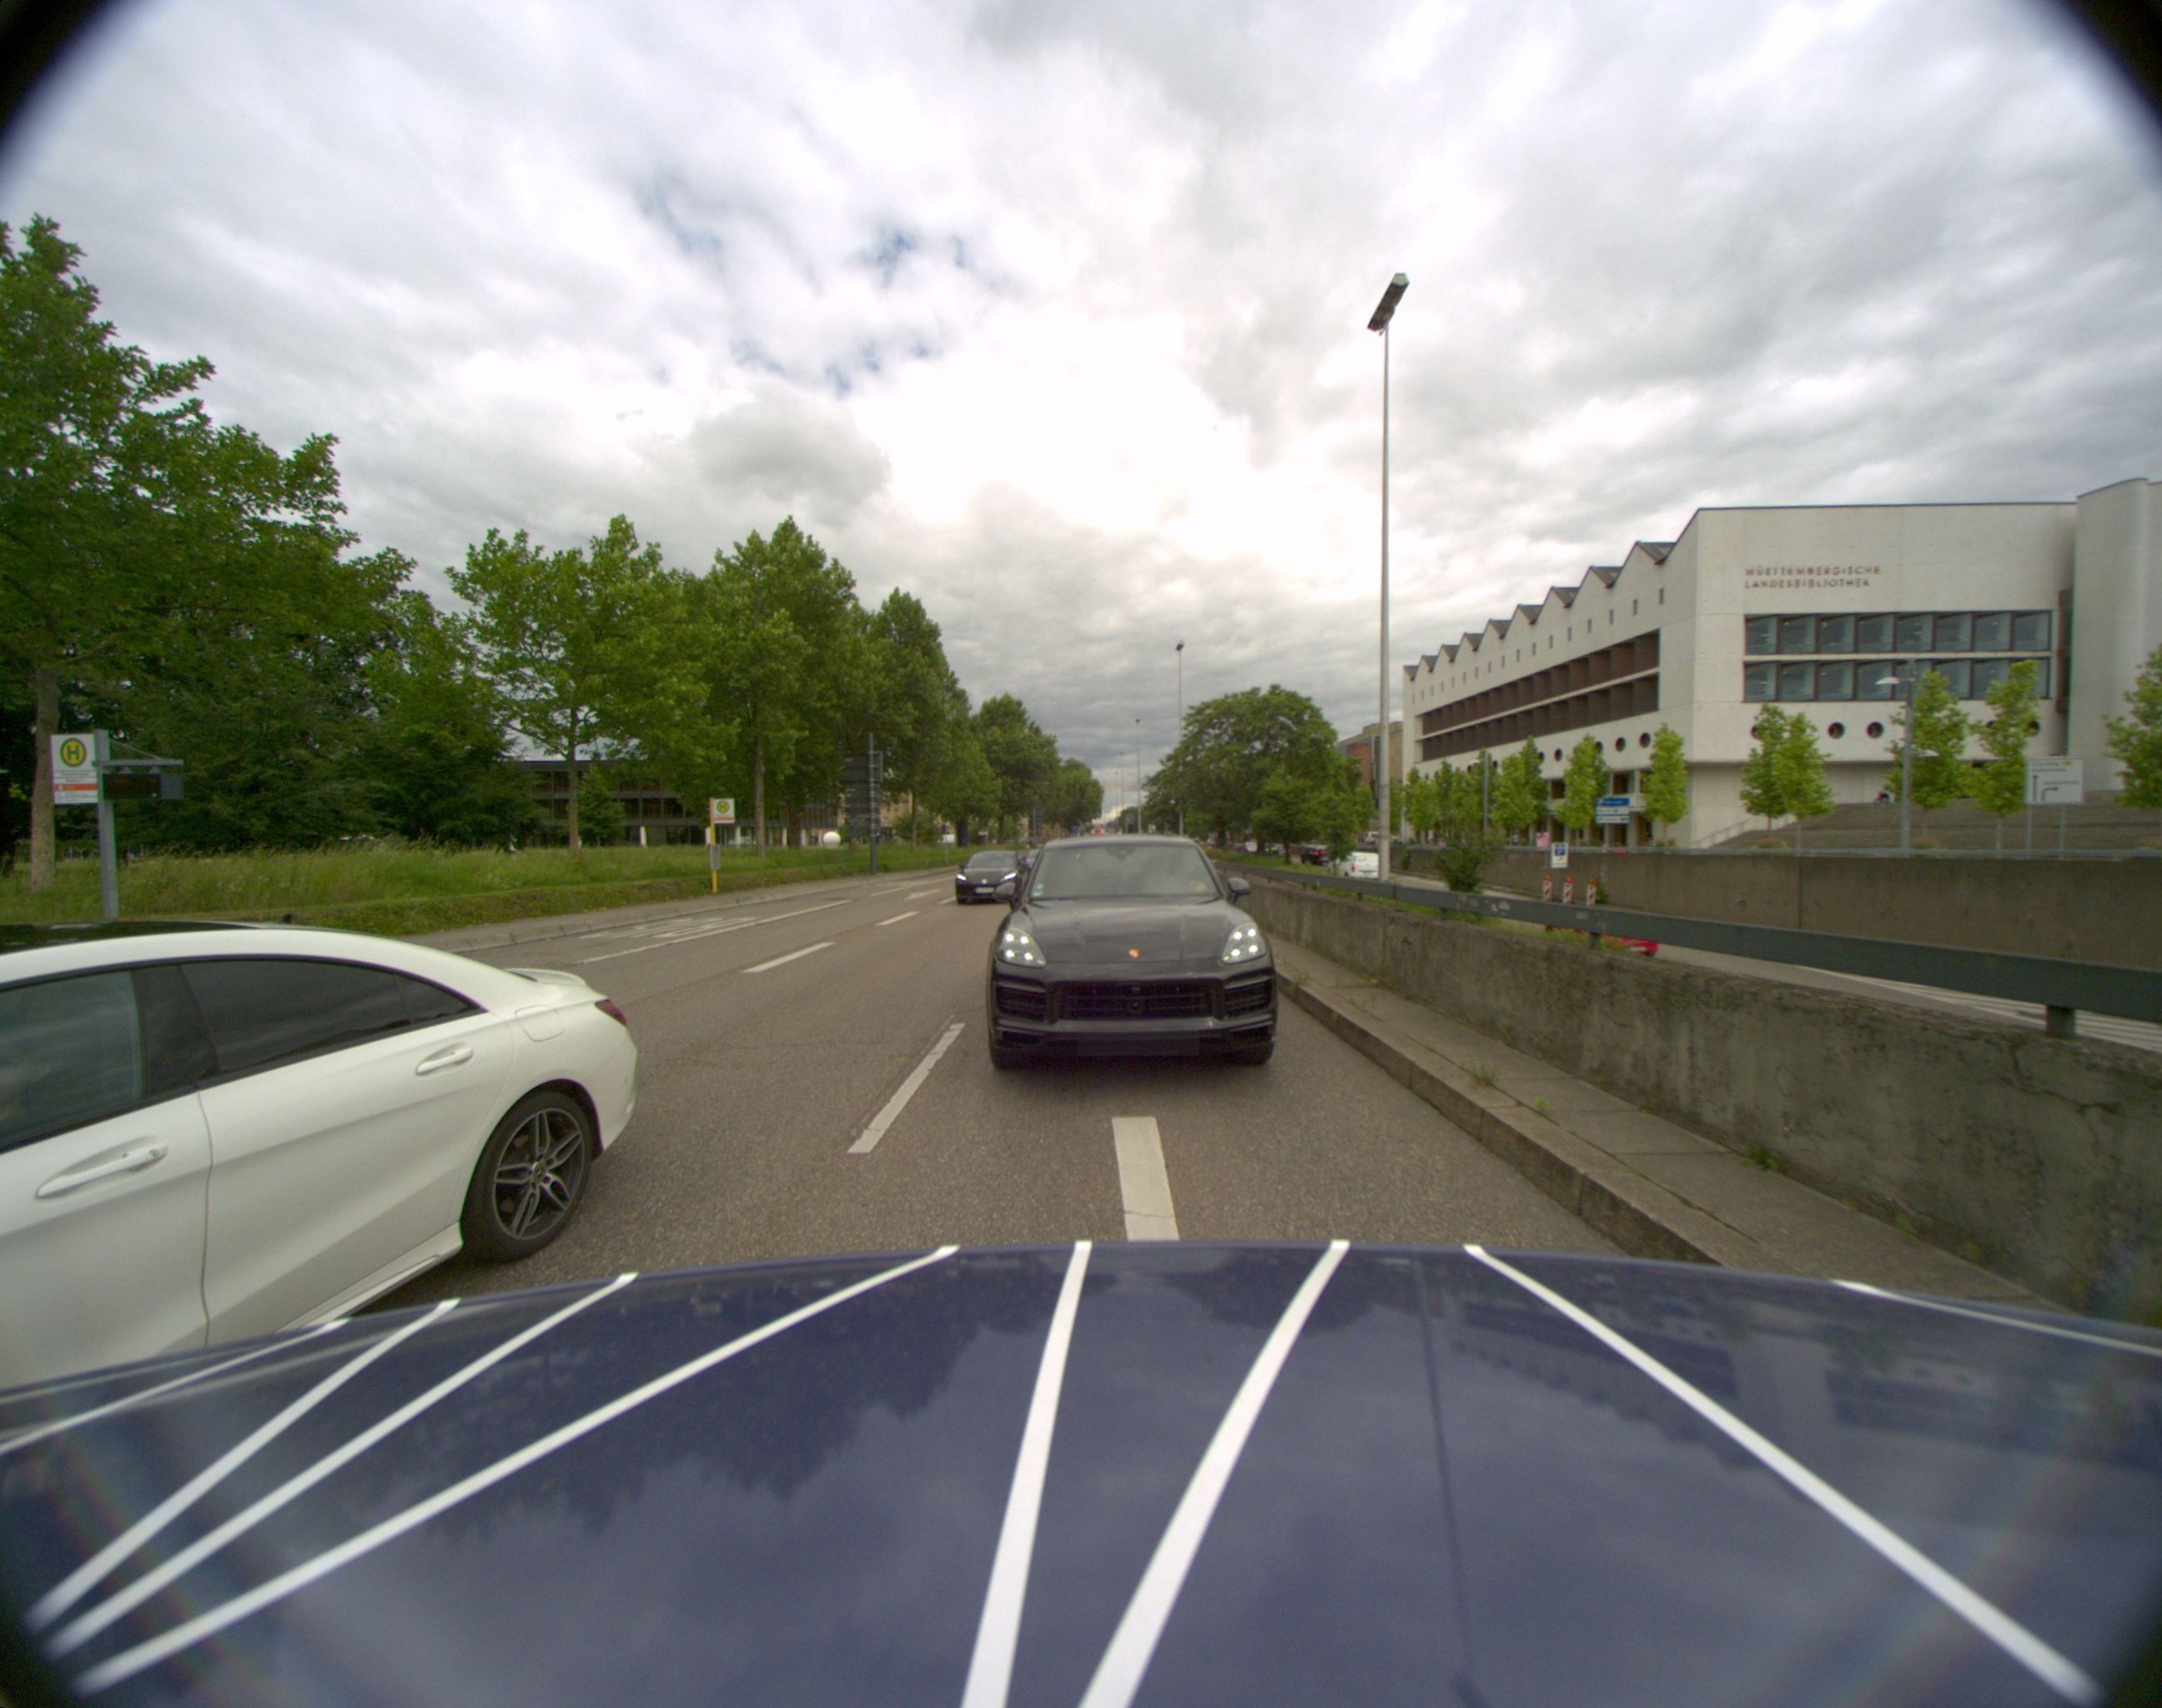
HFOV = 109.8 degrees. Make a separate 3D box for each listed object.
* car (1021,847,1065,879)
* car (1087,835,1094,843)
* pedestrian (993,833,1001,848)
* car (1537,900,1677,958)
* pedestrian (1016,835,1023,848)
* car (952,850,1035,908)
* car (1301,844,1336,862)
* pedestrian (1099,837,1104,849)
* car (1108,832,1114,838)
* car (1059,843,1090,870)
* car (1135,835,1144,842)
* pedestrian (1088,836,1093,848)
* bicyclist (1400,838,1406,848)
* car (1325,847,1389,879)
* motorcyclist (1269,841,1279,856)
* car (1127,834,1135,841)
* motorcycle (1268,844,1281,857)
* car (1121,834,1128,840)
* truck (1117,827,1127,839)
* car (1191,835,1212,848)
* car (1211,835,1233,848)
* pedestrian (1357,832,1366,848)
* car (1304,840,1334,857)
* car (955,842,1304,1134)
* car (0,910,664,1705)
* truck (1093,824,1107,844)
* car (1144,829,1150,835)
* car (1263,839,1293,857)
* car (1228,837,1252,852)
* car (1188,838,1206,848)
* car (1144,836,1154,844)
[{"bbox_3d":[-1.829,0.388,37.836,1.805,1.426,4.015,-1,1,2],"label":"car"},{"bbox_3d":[2.550,-3.920,202.752,1.693,2.002,3.999,-3,2,2],"label":"car"},{"bbox_3d":[-11.583,-1.892,104.470,0.892,2.002,1.181,-3,2,2],"label":"pedestrian"},{"bbox_3d":[17.458,2.439,25.492,1.998,1.477,4.000,-1,1,2],"label":"car"},{"bbox_3d":[-9.822,-2.013,121.917,0.892,2.002,1.181,-3,2,2],"label":"pedestrian"},{"bbox_3d":[-2.519,0.665,22.769,1.852,1.481,4.092,-1,1,2],"label":"car"},{"bbox_3d":[20.921,-0.121,67.104,1.810,1.321,4.002,0,4,0],"label":"car"},{"bbox_3d":[3.373,-1.816,125.163,0.792,2.002,0.741,-1,0,2],"label":"pedestrian"},{"bbox_3d":[10.324,-6.498,259.351,1.998,1.753,3.999,2,2,0],"label":"car"},{"bbox_3d":[-0.453,0.174,55.872,2.021,1.823,4.804,-1,1,2],"label":"car"},{"bbox_3d":[11.230,-2.934,145.099,1.372,1.390,3.721,2,1,0],"label":"car"},{"bbox_3d":[1.586,-1.996,127.738,0.792,2.002,0.741,-1,0,2],"label":"pedestrian"},{"bbox_3d":[37.603,-1.302,88.681,0.403,1.154,0.643,-3,2,-1],"label":"bicyclist"},{"bbox_3d":[17.713,0.523,49.054,1.999,1.630,5.246,5,3,-1],"label":"car"},{"bbox_3d":[18.137,-0.554,71.383,0.671,1.345,0.717,3,4,0],"label":"motorcyclist"},{"bbox_3d":[11.160,-3.636,168.686,1.372,1.389,3.722,-1,-1,-1],"label":"car"},{"bbox_3d":[18.135,-0.330,71.367,0.687,1.092,2.049,3,4,1],"label":"motorcycle"},{"bbox_3d":[10.366,-4.088,180.981,1.442,1.390,3.721,2,1,0],"label":"car"},{"bbox_3d":[11.717,-6.098,217.684,2.576,3.289,8.078,-3,2,2],"label":"truck"},{"bbox_3d":[16.187,-1.660,102.238,1.998,1.665,4.516,2,1,0],"label":"car"},{"bbox_3d":[20.308,-1.852,109.385,2.161,1.636,4.514,2,3,-1],"label":"car"},{"bbox_3d":[35.844,-1.851,97.137,0.722,2.002,1.016,-3,2,2],"label":"pedestrian"},{"bbox_3d":[26.322,-0.602,84.101,1.998,1.753,3.999,2,2,0],"label":"car"},{"bbox_3d":[0.394,0.722,6.587,1.904,1.581,4.732,-1,1,3],"label":"car"},{"bbox_3d":[-3.127,1.057,1.613,1.799,1.412,4.526,-1,1,2],"label":"car"},{"bbox_3d":[3.634,-3.874,142.859,2.357,3.518,9.423,-3,2,2],"label":"truck"},{"bbox_3d":[18.883,-6.304,217.759,1.609,1.844,3.999,-3,2,2],"label":"car"},{"bbox_3d":[20.688,-0.634,79.993,1.875,1.604,4.387,0,4,-3],"label":"car"},{"bbox_3d":[17.320,-1.069,82.919,1.779,1.481,4.143,0,4,0],"label":"car"},{"bbox_3d":[17.213,-1.704,112.618,1.998,1.390,3.999,2,1,0],"label":"car"},{"bbox_3d":[11.985,-2.497,134.326,1.372,1.390,3.721,2,1,0],"label":"car"}]
